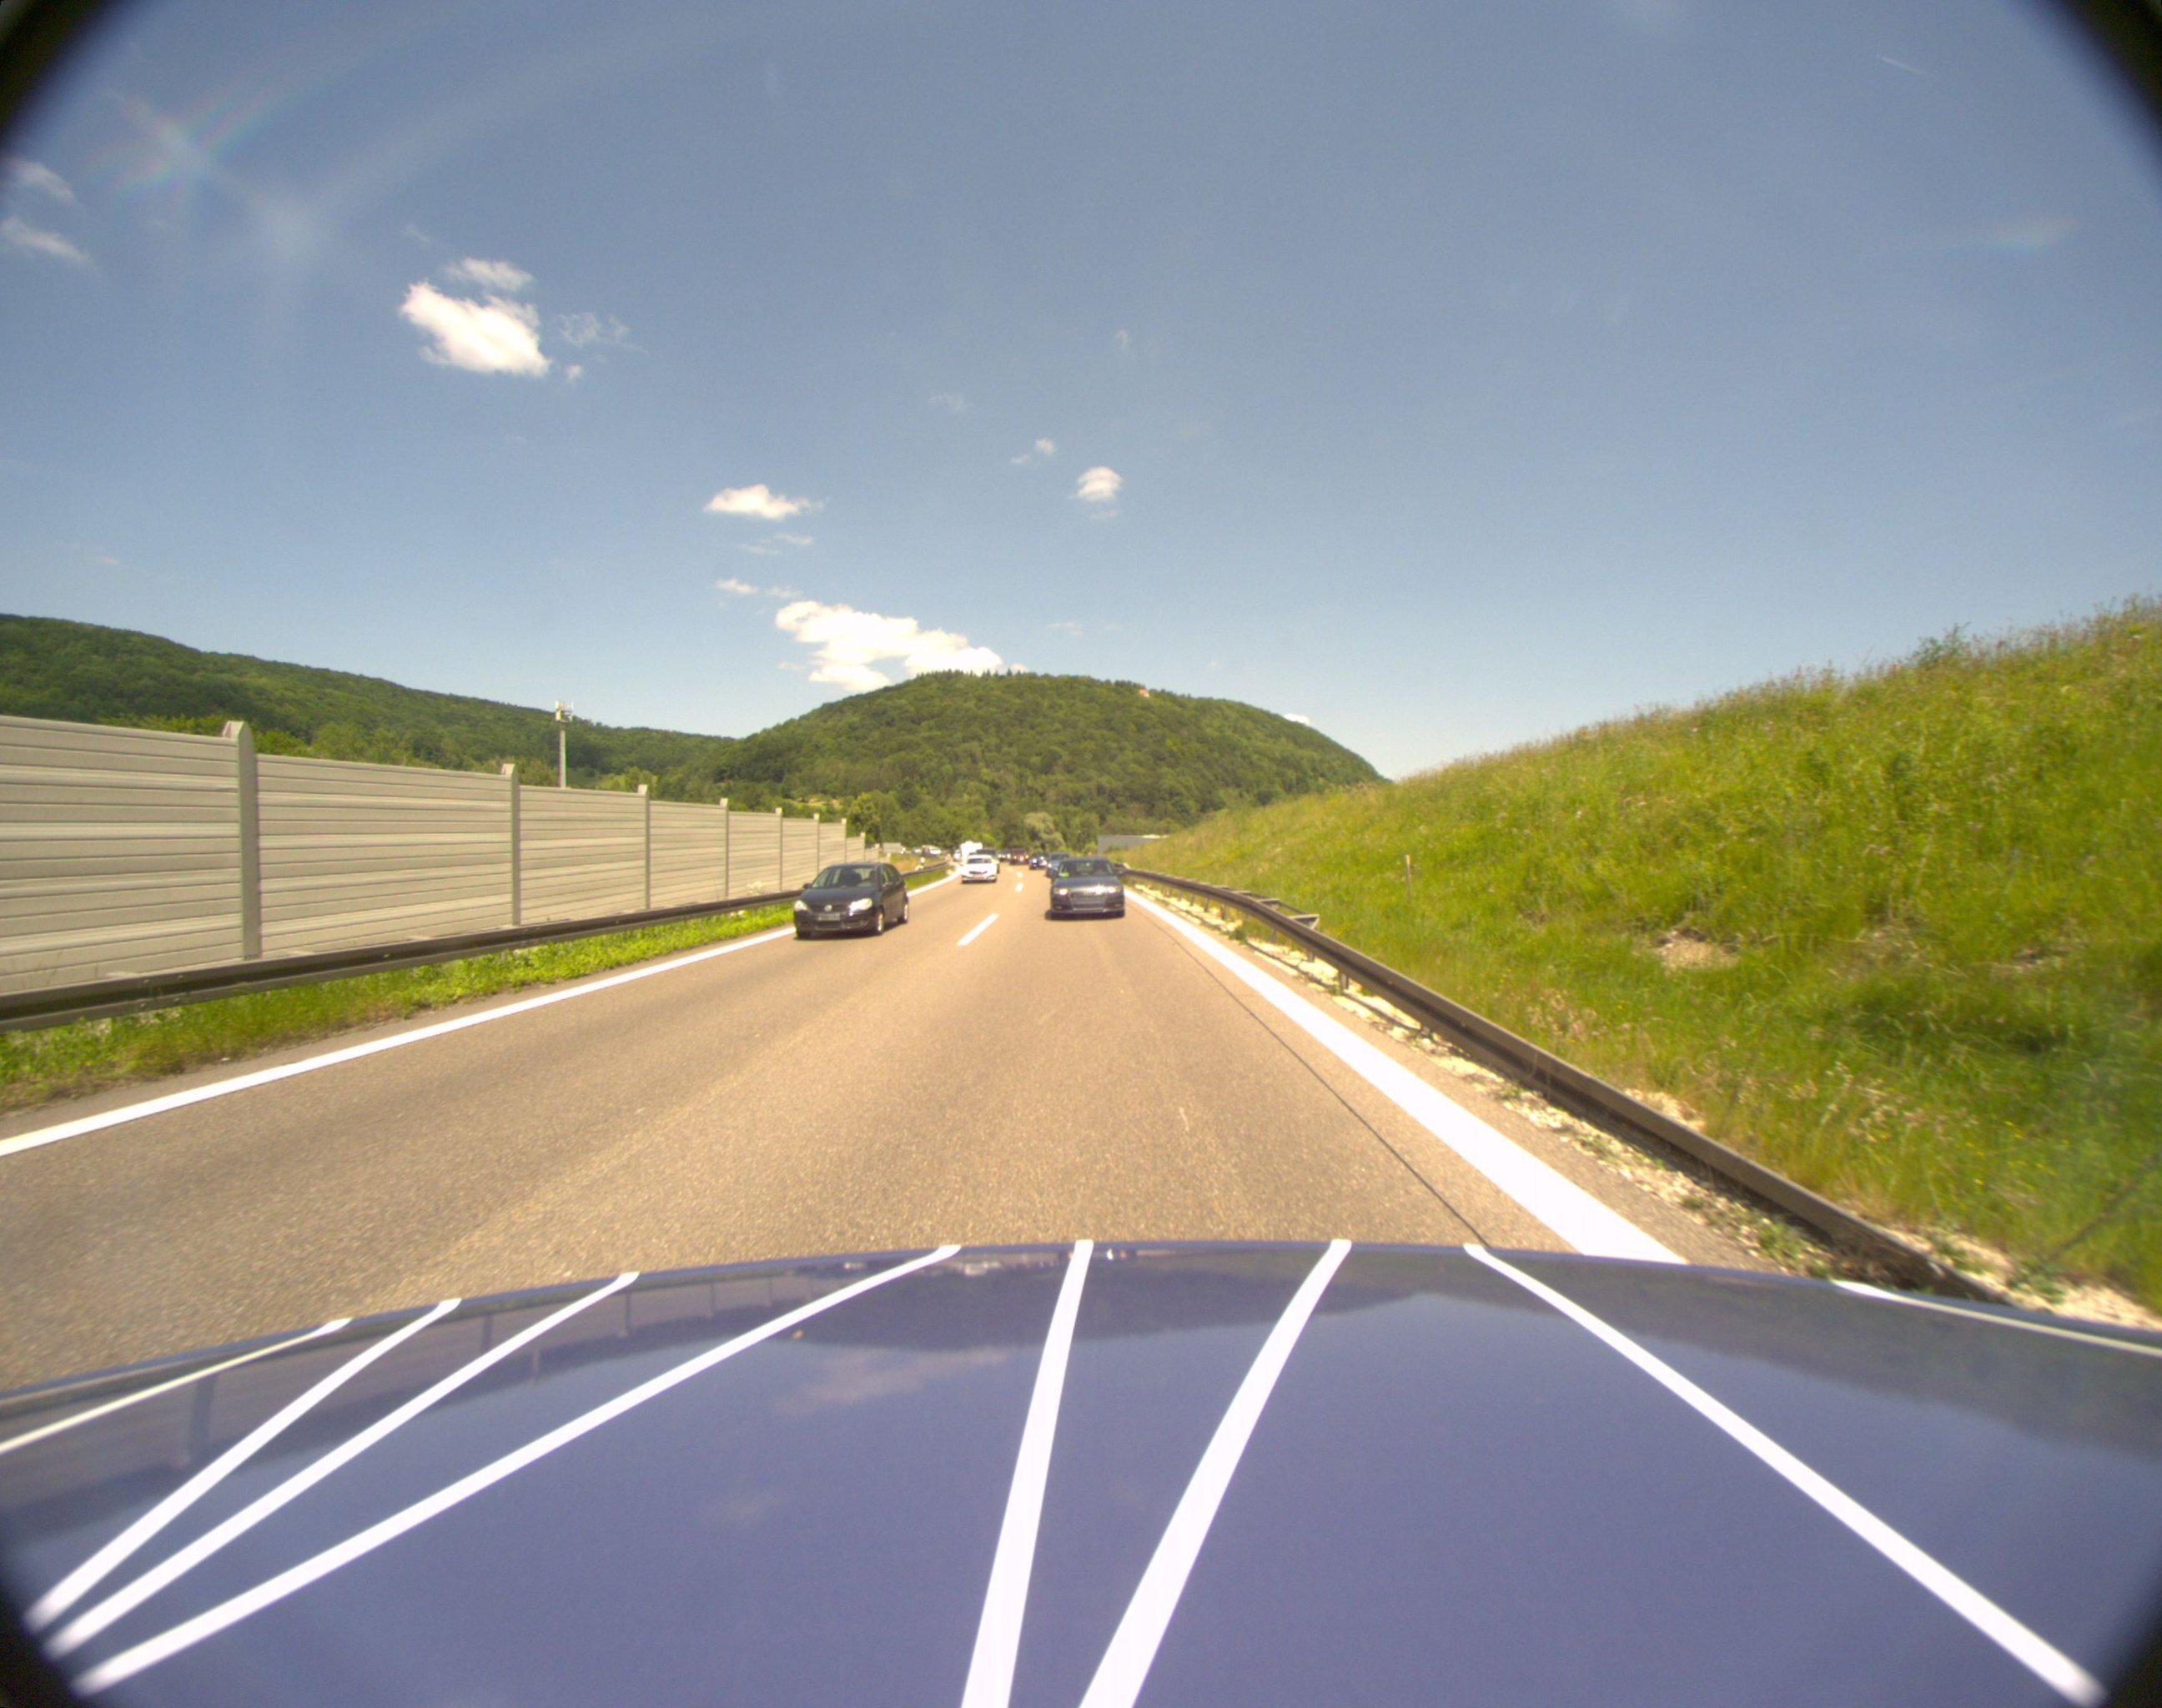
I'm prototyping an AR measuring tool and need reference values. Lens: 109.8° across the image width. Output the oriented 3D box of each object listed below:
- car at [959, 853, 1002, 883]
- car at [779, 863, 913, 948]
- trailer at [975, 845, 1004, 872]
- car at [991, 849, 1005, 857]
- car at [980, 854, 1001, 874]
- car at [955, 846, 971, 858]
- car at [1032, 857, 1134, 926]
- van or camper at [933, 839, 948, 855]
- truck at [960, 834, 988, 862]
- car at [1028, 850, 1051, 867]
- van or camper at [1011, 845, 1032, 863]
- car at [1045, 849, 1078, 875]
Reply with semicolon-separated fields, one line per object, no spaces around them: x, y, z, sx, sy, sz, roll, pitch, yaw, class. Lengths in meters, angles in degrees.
-5.343;0.746;40.862;1.908;1.422;3.721;-3;-1;-3;car
-4.802;0.984;16.086;1.696;1.414;3.837;-2;1;-2;car
-7.001;0.333;57.964;2.000;1.958;3.997;-2;1;-7;trailer
-12.411;-0.128;113.002;1.493;1.103;3.209;-3;1;-16;car
-6.435;0.690;54.165;1.489;1.375;3.736;0;1;-6;car
-17.294;-0.289;111.697;1.700;1.524;3.674;-5;1;-17;car
-0.078;0.806;18.499;1.757;1.382;4.051;-3;1;-10;car
-27.417;-1.289;148.155;1.912;3.010;4.866;-2;1;-20;van or camper
-12.944;-0.754;91.573;2.605;3.090;6.850;-5;1;-12;truck
-3.471;0.360;63.105;1.288;1.305;3.449;-3;1;-12;car
-6.565;0.032;83.818;1.819;1.856;3.609;-3;1;-12;van or camper
-1.235;0.446;46.920;1.696;1.422;3.460;-4;1;-6;car
